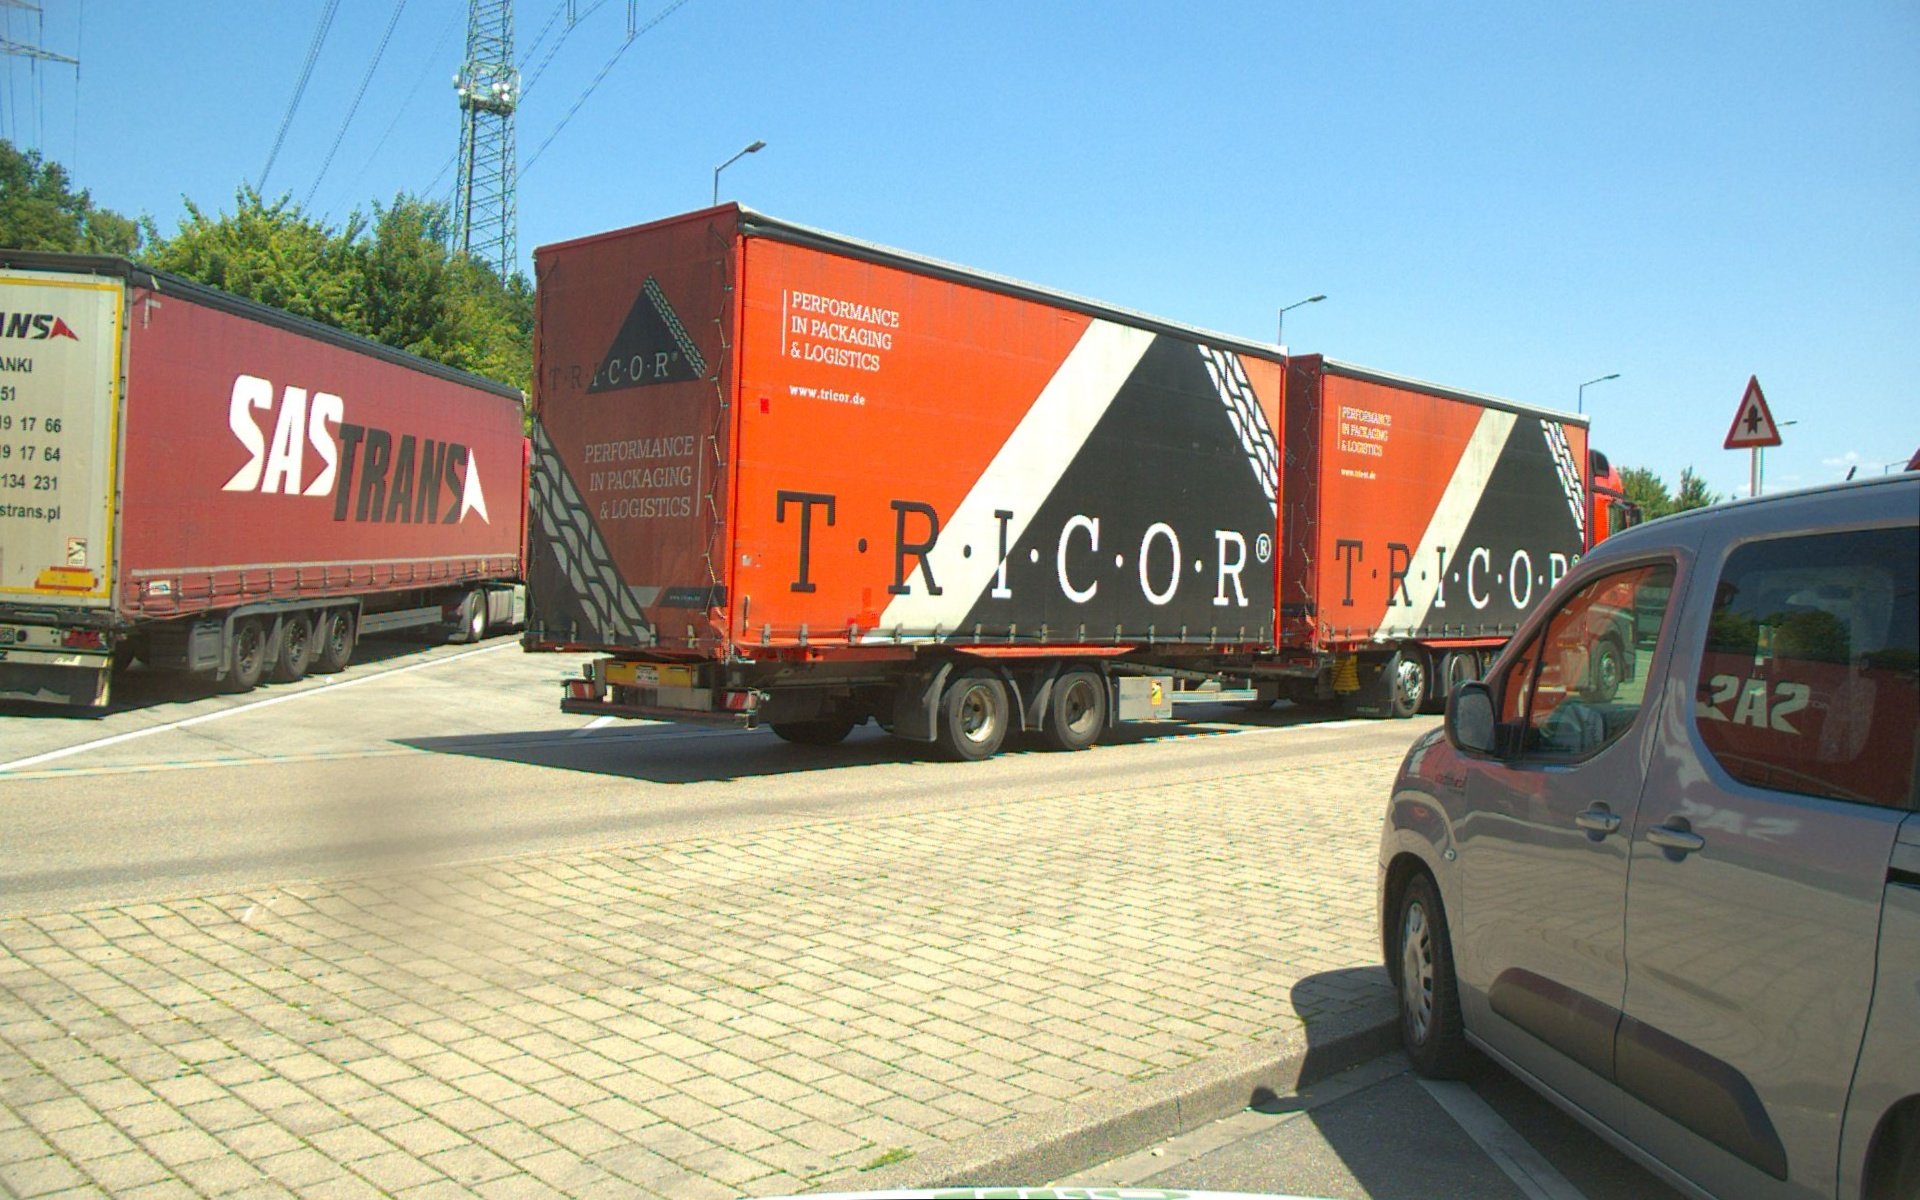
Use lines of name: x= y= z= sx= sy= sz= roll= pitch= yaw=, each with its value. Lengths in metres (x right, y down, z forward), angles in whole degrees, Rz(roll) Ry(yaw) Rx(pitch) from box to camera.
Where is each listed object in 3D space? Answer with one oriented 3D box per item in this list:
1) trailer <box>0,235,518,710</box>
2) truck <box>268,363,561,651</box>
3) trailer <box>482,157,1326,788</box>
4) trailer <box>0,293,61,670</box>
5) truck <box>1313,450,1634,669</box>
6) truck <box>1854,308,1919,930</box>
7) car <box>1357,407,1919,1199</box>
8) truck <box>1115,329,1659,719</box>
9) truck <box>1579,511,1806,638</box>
trailer: x=-8.688 y=-1.257 z=21.055 sx=2.694 sy=4.128 sz=13.284 roll=1 pitch=1 yaw=-1
truck: x=-8.782 y=-1.417 z=27.537 sx=2.687 sy=4.152 sz=6.828 roll=1 pitch=1 yaw=-1
trailer: x=0.061 y=-0.912 z=15.566 sx=2.792 sy=4.332 sz=8.635 roll=1 pitch=1 yaw=41
trailer: x=-12.416 y=-1.309 z=15.446 sx=2.689 sy=4.337 sz=9.733 roll=1 pitch=1 yaw=0
truck: x=11.708 y=-0.948 z=39.994 sx=2.846 sy=4.195 sz=14.525 roll=3 pitch=1 yaw=-1
truck: x=4.973 y=0.132 z=4.937 sx=1.952 sy=2.669 sz=5.305 roll=1 pitch=1 yaw=3
car: x=2.427 y=0.559 z=3.815 sx=1.790 sy=1.784 sz=3.997 roll=1 pitch=1 yaw=-4
truck: x=6.345 y=-0.858 z=22.662 sx=2.646 sy=4.199 sz=10.540 roll=1 pitch=1 yaw=42
truck: x=21.948 y=-0.796 z=50.186 sx=2.963 sy=3.497 sz=8.529 roll=1 pitch=1 yaw=-1
